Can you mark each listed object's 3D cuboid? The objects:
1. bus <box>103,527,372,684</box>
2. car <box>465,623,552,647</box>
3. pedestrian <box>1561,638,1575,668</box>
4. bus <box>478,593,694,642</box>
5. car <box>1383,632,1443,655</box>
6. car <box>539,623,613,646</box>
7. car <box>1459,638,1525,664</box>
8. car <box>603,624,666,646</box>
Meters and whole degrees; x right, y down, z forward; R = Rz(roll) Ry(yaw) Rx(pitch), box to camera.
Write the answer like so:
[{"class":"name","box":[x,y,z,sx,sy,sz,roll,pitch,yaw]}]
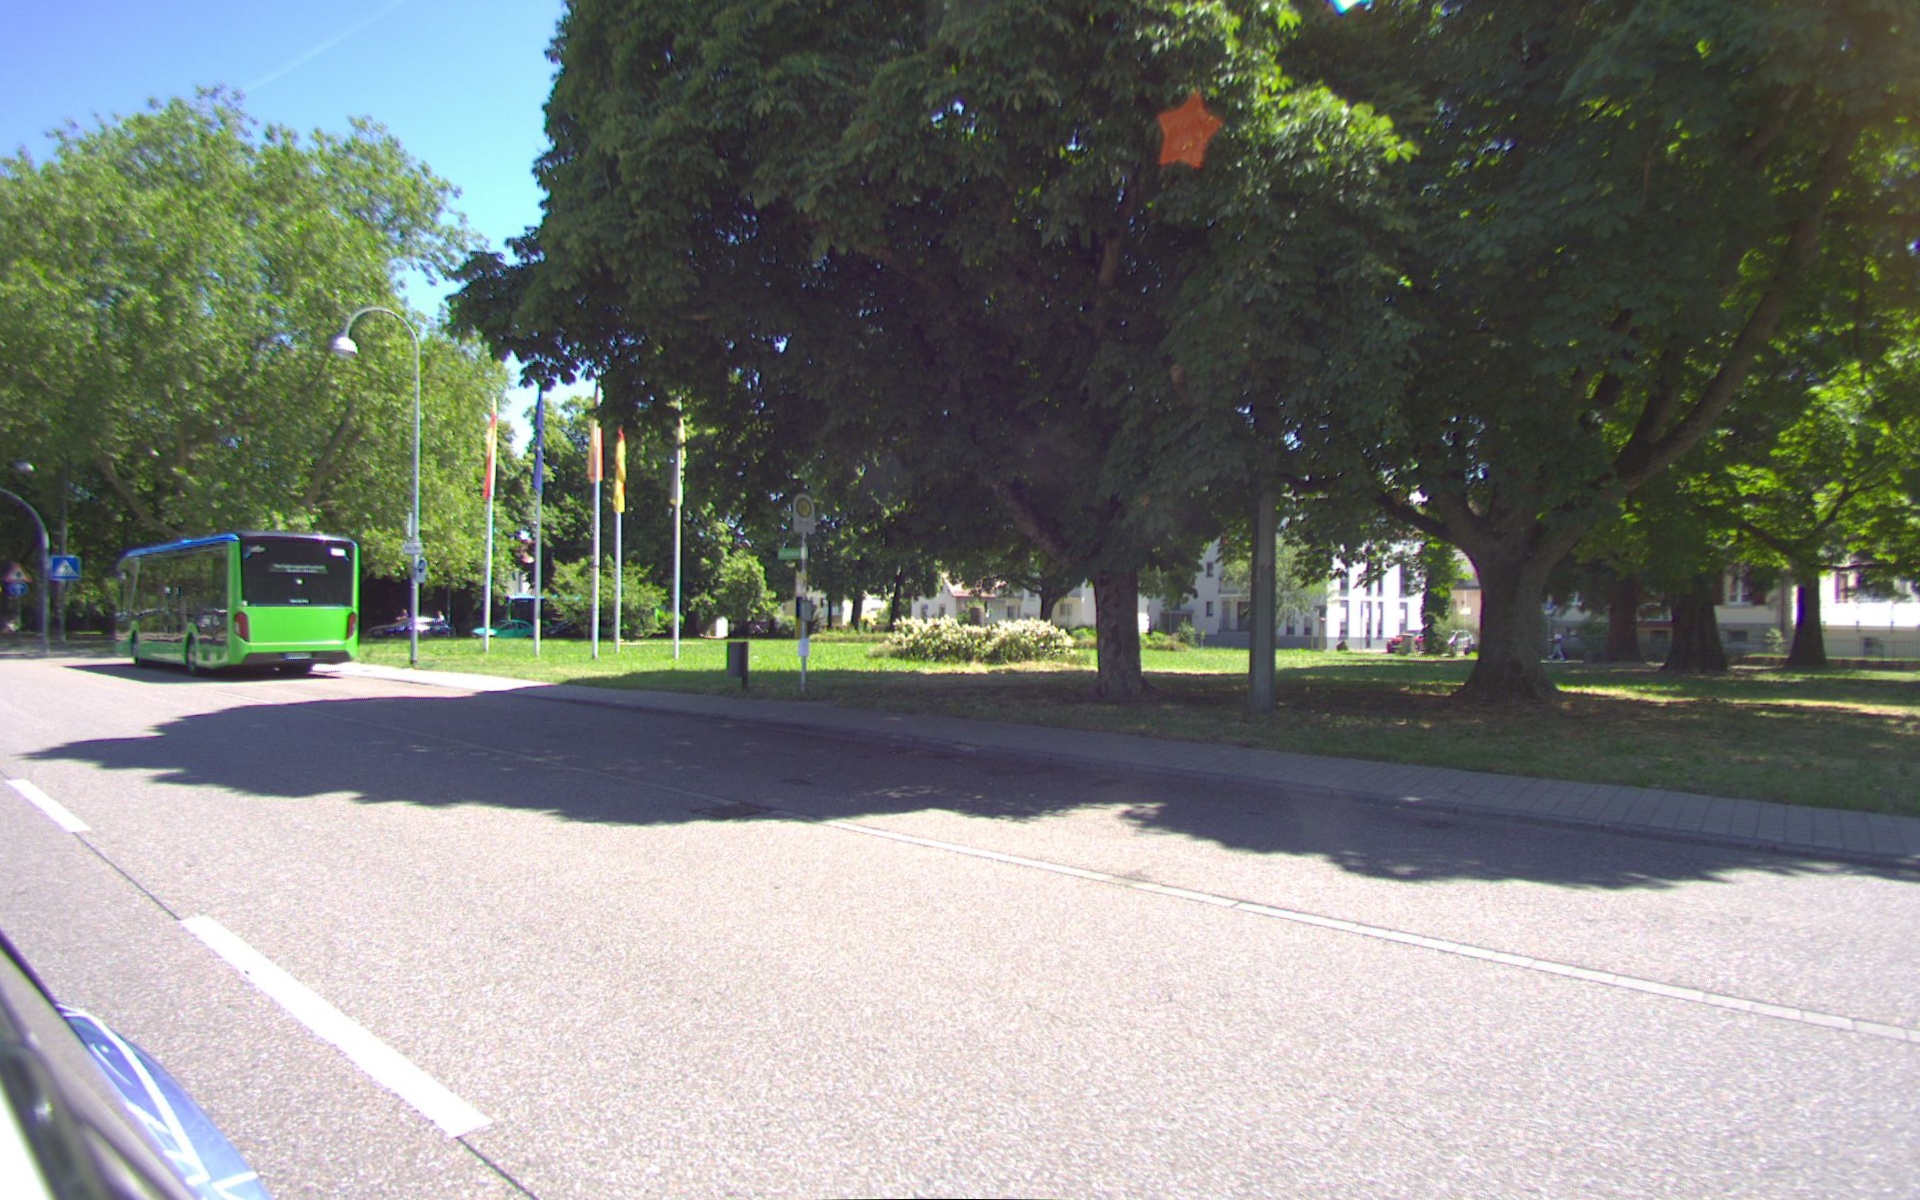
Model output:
[{"class":"bus","box":[-19.272,0.230,26.452,12.416,3.308,2.780,-1,-2,41]},{"class":"car","box":[-28.569,2.188,64.157,1.755,1.450,4.705,-1,-2,40]},{"class":"pedestrian","box":[31.258,2.725,51.992,0.383,1.502,0.486,1,-2,-33]},{"class":"bus","box":[-27.329,1.409,75.469,2.875,3.320,15.735,-1,-2,40]},{"class":"car","box":[29.061,2.776,64.932,3.978,1.359,1.642,1,-2,-34]},{"class":"car","box":[-25.658,2.311,67.755,1.758,1.504,4.317,-1,-2,40]},{"class":"car","box":[30.290,2.880,57.598,3.978,1.359,1.642,1,-2,-34]},{"class":"car","box":[-22.831,2.473,71.121,1.758,1.504,3.865,-1,-2,40]}]
